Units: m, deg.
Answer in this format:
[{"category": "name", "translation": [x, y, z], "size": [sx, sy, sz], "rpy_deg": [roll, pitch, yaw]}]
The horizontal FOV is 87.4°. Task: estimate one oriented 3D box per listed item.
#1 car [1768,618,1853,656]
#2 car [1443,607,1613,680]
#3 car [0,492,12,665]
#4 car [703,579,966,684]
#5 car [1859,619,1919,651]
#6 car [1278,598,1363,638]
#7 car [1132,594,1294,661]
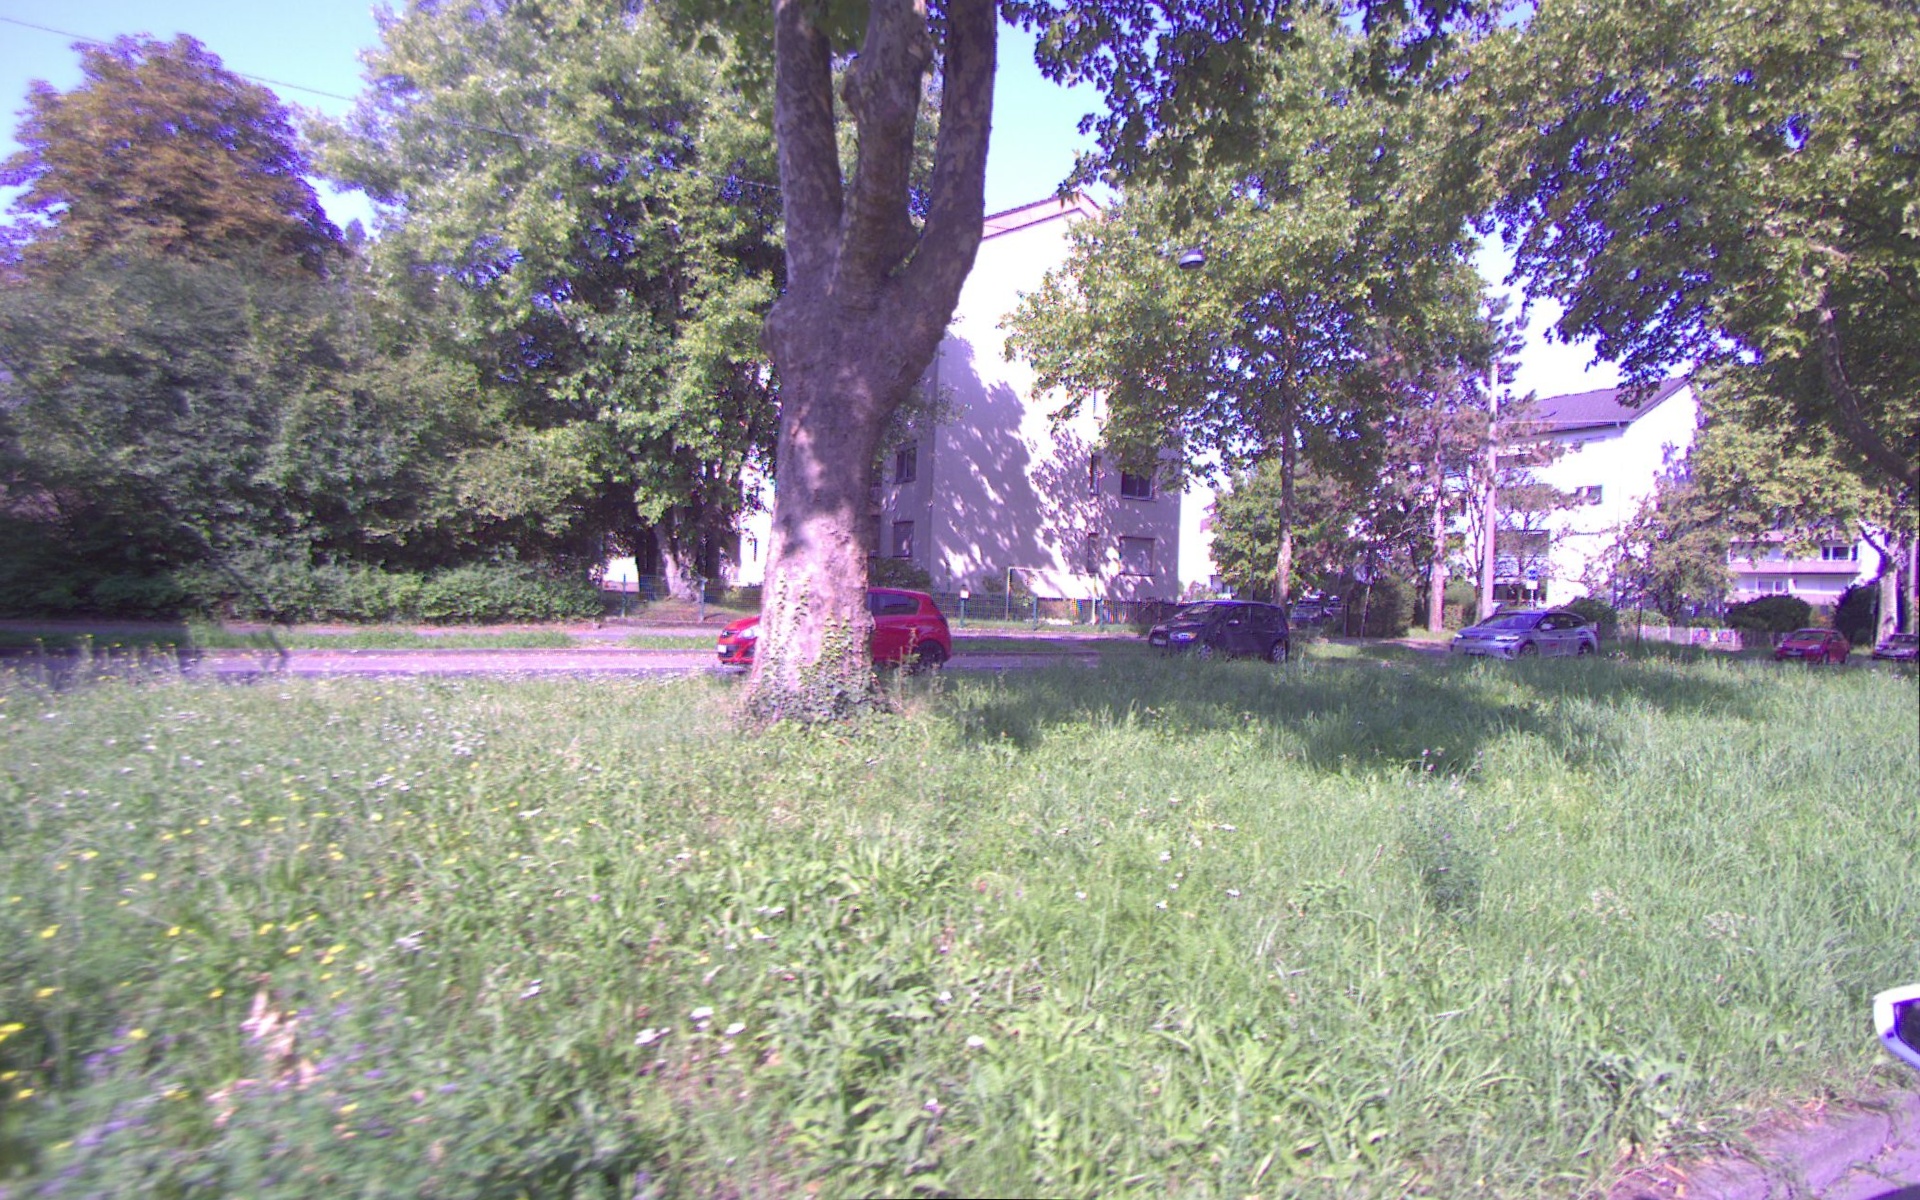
[{"category": "car", "translation": [36.671, 1.607, 43.296], "size": [4.017, 1.471, 1.531], "rpy_deg": [2, 1, -30]}, {"category": "car", "translation": [15.000, 1.104, 26.476], "size": [4.664, 1.743, 1.793], "rpy_deg": [1, 0, -30]}, {"category": "car", "translation": [-15.994, -0.346, 12.147], "size": [6.190, 2.463, 2.197], "rpy_deg": [2, 3, -29]}, {"category": "car", "translation": [-2.053, 0.506, 16.804], "size": [4.024, 1.553, 1.682], "rpy_deg": [2, 1, -32]}, {"category": "car", "translation": [46.420, 1.726, 49.641], "size": [4.016, 1.449, 1.793], "rpy_deg": [1, 2, -30]}, {"category": "car", "translation": [18.520, 0.881, 51.573], "size": [3.924, 1.795, 1.999], "rpy_deg": [3, 1, 24]}, {"category": "car", "translation": [6.314, 0.683, 25.017], "size": [3.812, 1.553, 1.518], "rpy_deg": [2, 0, -25]}]
